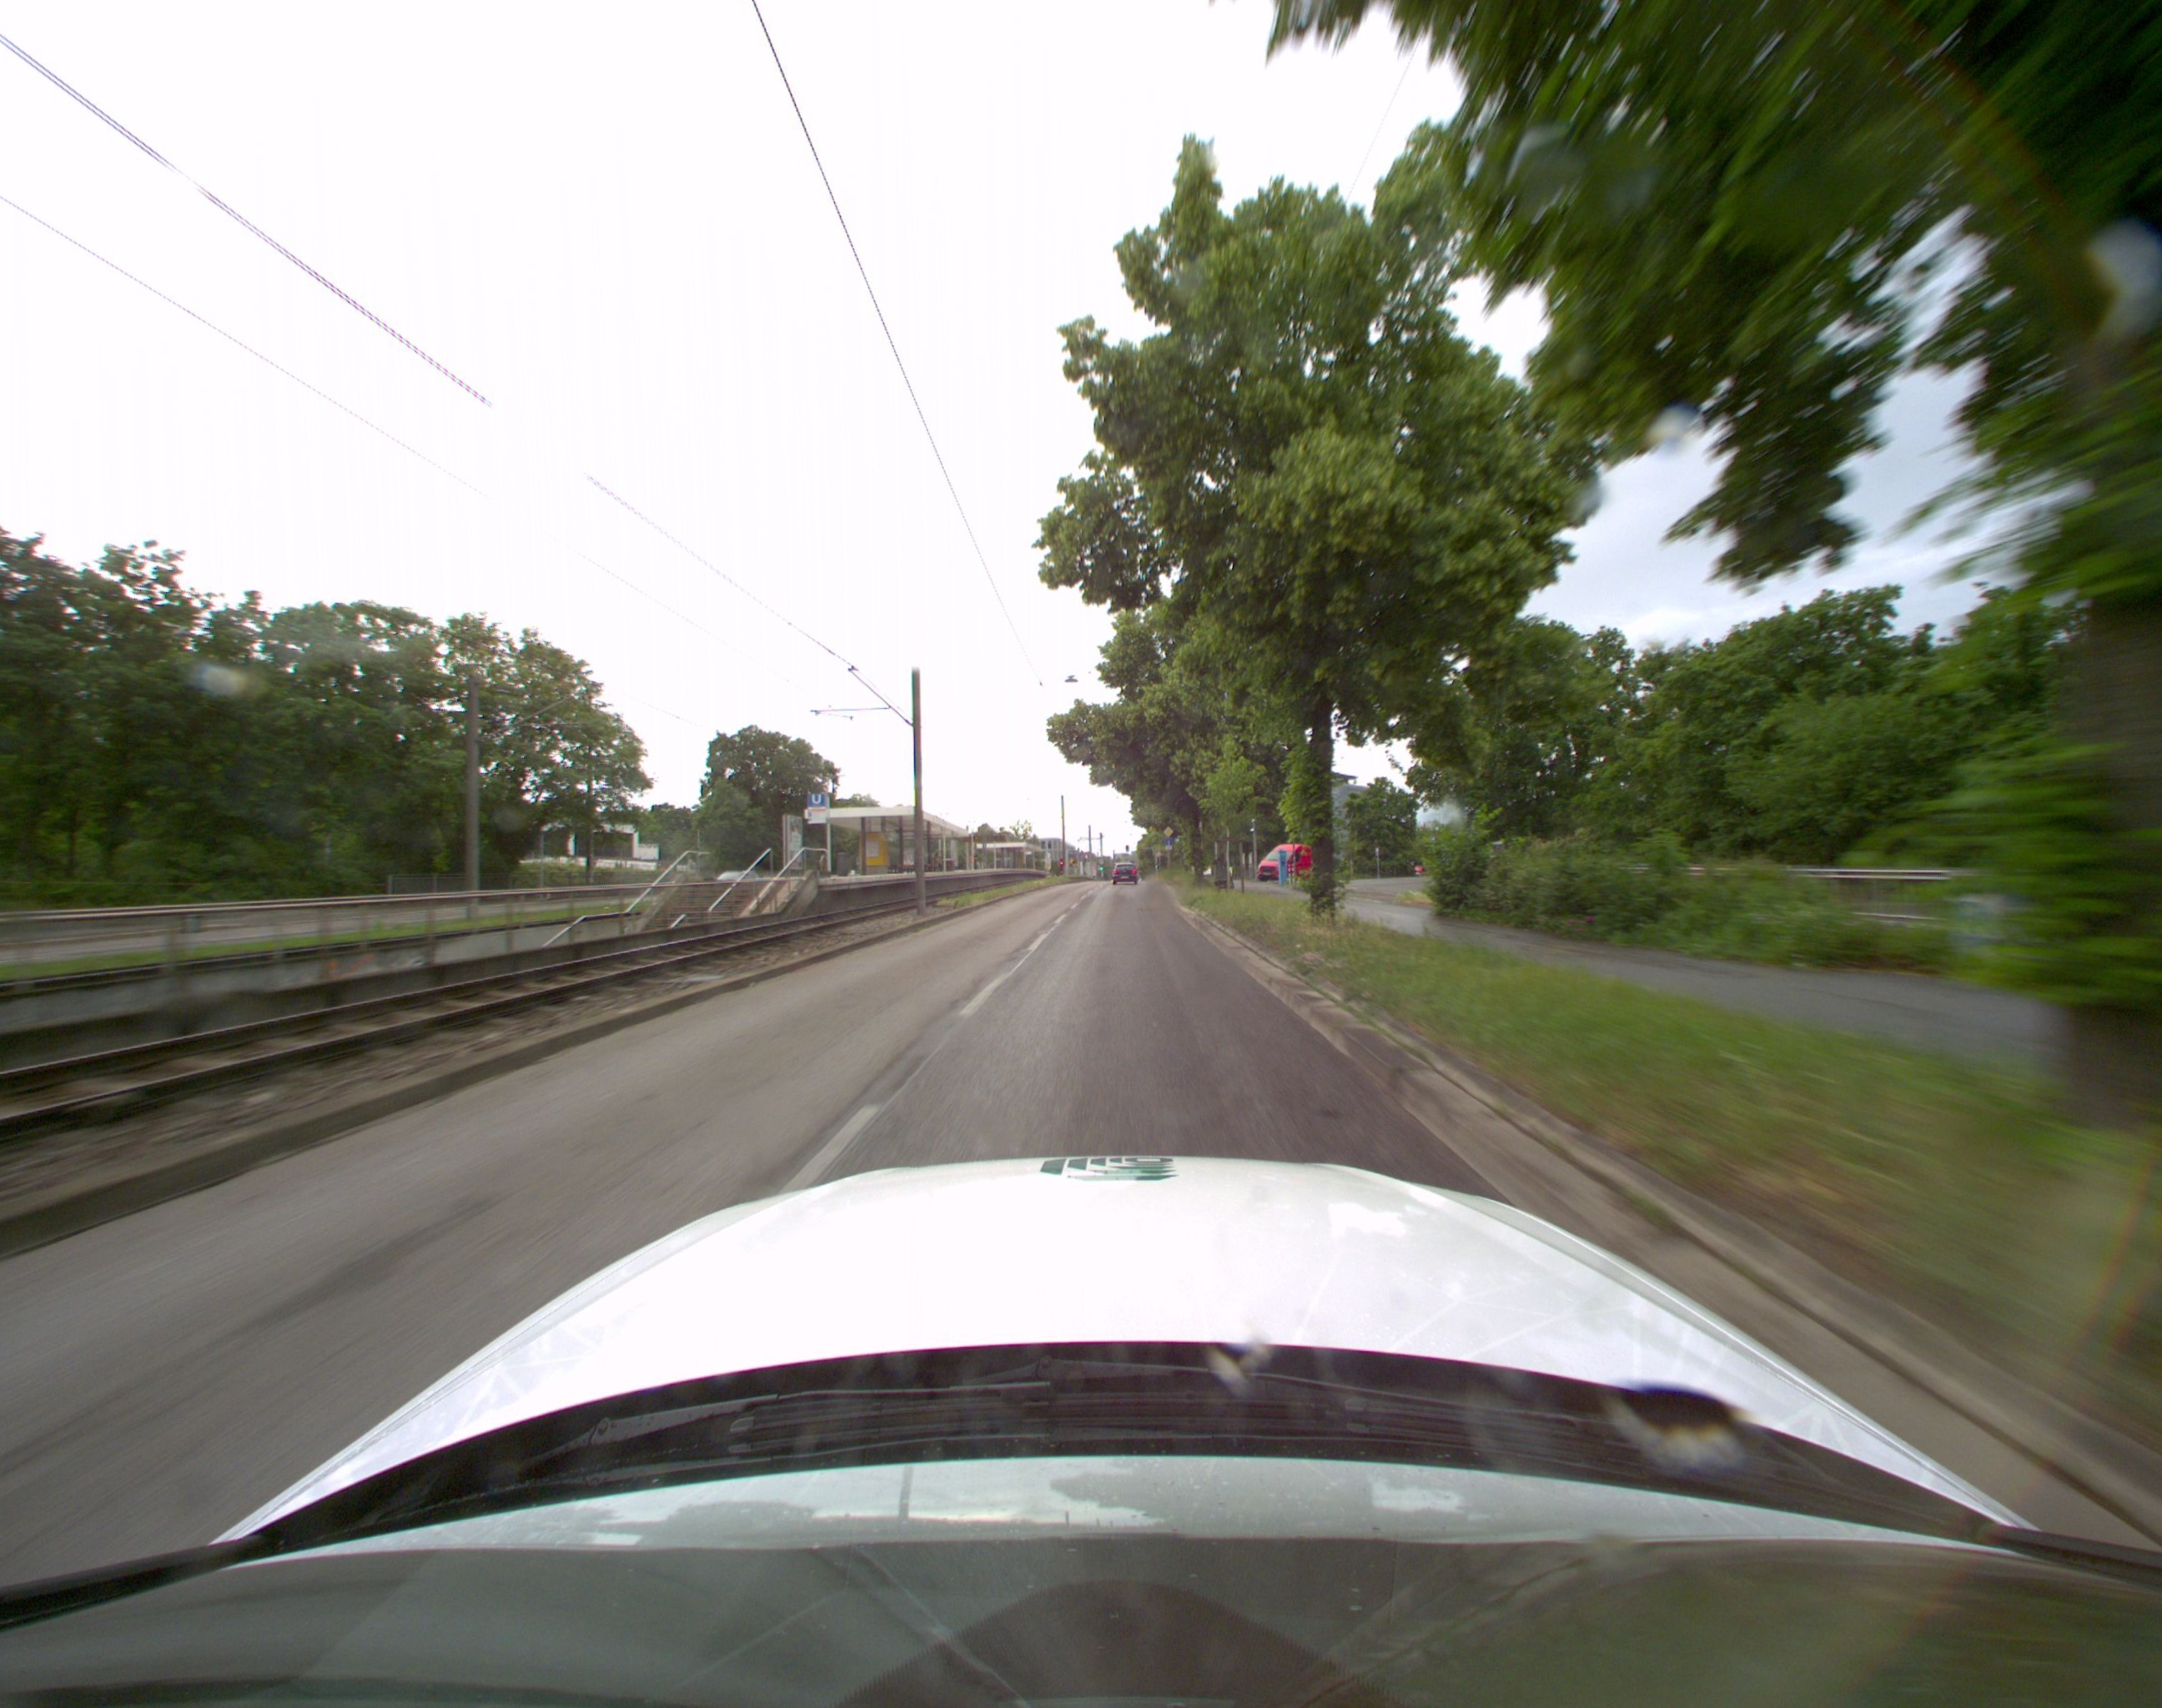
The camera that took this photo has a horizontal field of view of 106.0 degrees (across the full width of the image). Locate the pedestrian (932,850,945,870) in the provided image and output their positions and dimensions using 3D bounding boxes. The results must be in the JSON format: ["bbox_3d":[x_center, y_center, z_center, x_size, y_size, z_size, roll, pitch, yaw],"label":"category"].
[{"bbox_3d":[-8.949,0.389,51.159,0.707,1.225,0.620,-1,-1,3],"label":"pedestrian"}]

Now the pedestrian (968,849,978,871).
[{"bbox_3d":[-9.334,0.508,70.386,0.745,1.909,0.837,0,0,-18],"label":"pedestrian"}]

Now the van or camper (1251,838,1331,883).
[{"bbox_3d":[12.544,0.405,48.375,5.421,2.406,2.016,3,-1,-44],"label":"van or camper"}]

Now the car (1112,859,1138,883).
[{"bbox_3d":[3.031,1.156,55.976,1.719,1.540,4.003,-1,0,3],"label":"car"}]

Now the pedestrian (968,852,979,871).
[{"bbox_3d":[-9.170,0.633,69.458,0.797,1.647,0.913,0,0,-18],"label":"pedestrian"}]

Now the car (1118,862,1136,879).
[{"bbox_3d":[4.453,1.548,78.466,1.680,1.517,4.003,-1,0,3],"label":"car"}]

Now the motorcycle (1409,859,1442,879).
[{"bbox_3d":[24.101,1.061,56.983,1.998,1.214,0.476,-6,-10,42],"label":"motorcycle"}]
